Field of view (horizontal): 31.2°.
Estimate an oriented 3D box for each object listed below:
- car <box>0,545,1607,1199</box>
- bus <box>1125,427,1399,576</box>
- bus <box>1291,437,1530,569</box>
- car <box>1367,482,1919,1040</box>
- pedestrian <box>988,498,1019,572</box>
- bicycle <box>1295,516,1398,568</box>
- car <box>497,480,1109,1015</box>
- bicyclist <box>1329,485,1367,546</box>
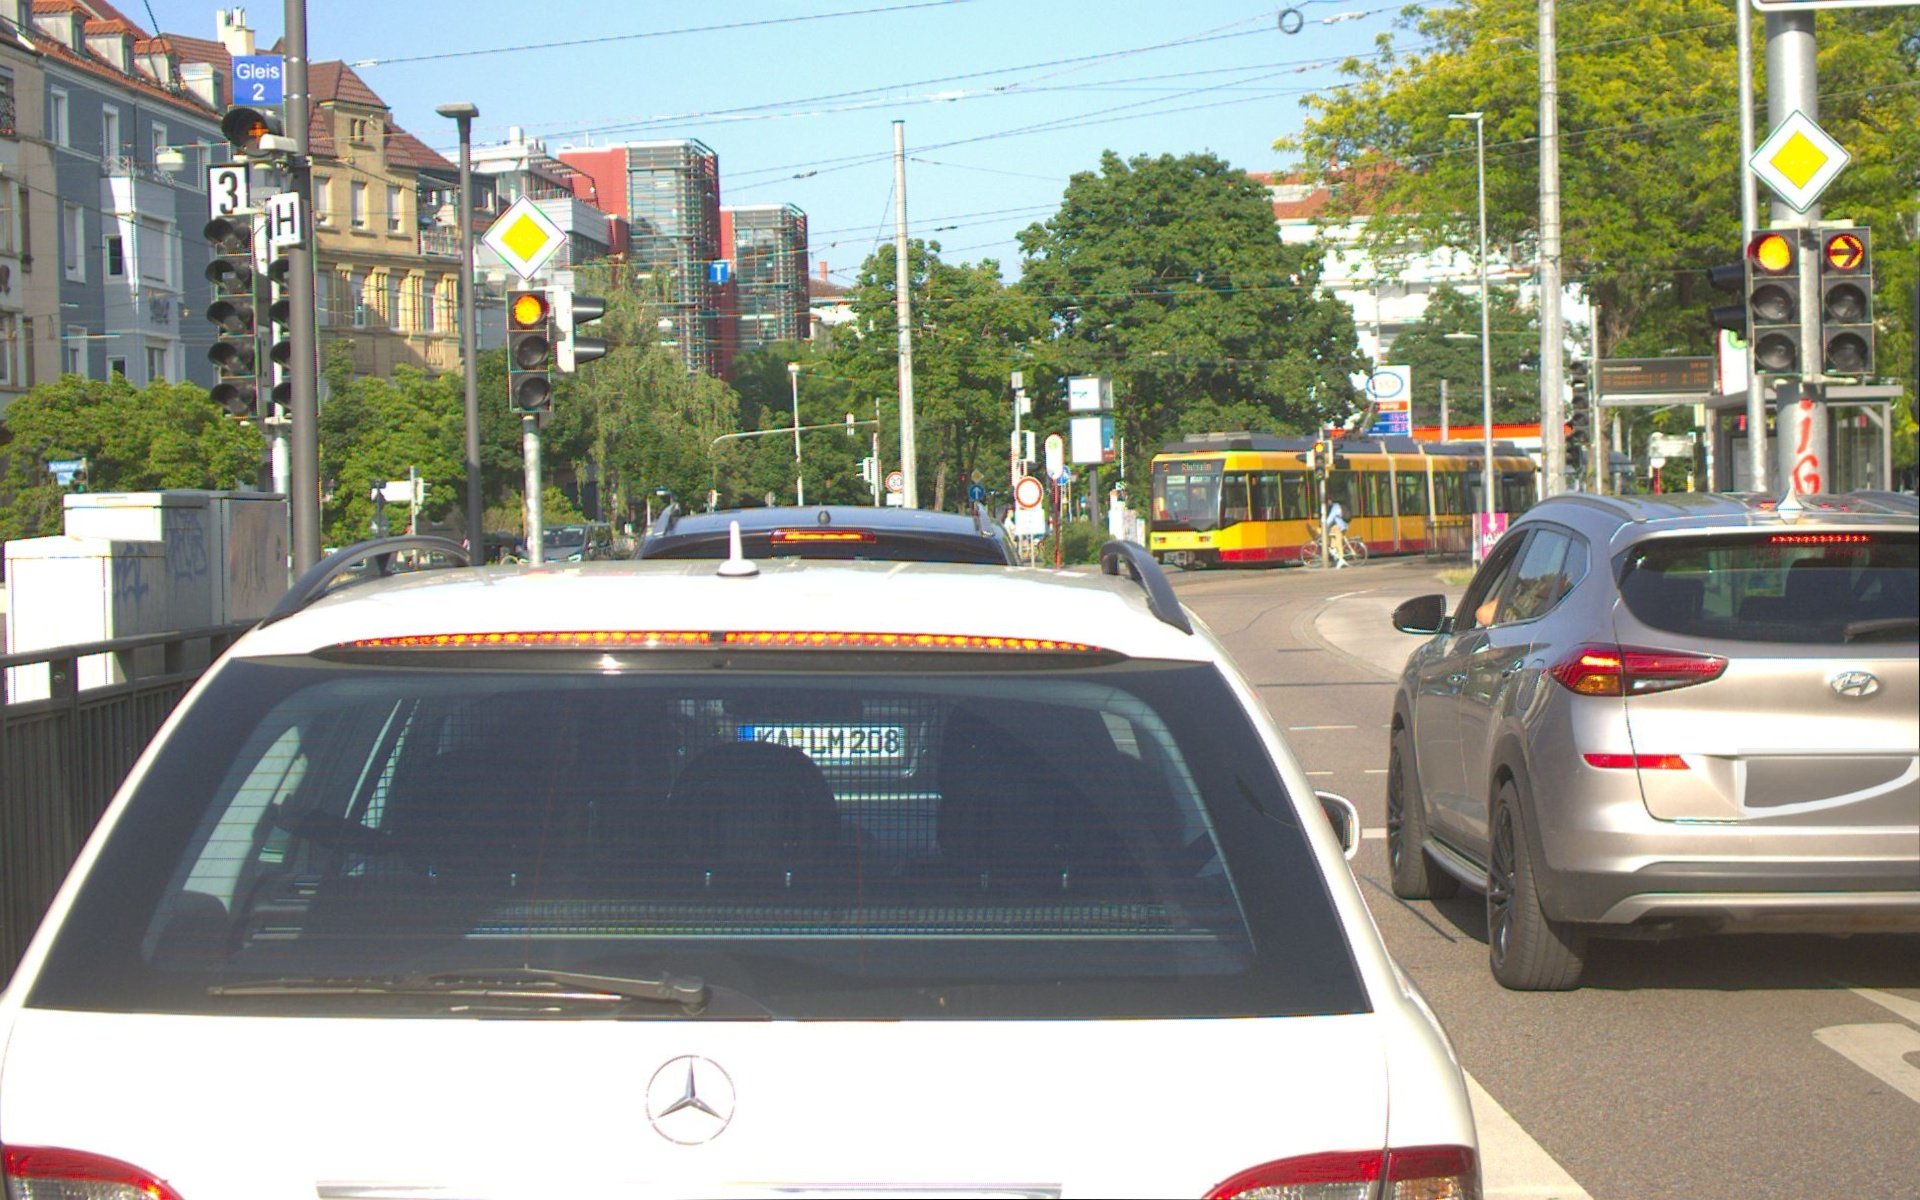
[{"bbox_3d":[-0.320,0.663,5.037,1.796,1.465,3.648,0,1,-1],"label":"car"},{"bbox_3d":[8.030,-2.442,89.187,3.113,3.593,12.359,1,1,24],"label":"bus"},{"bbox_3d":[13.354,-2.734,100.535,3.113,3.593,12.573,1,1,26],"label":"bus"},{"bbox_3d":[2.637,0.436,12.181,1.885,1.645,3.648,-2,1,0],"label":"car"},{"bbox_3d":[1.092,-1.645,86.896,0.642,1.850,0.551,-1,1,11],"label":"pedestrian"},{"bbox_3d":[9.564,-1.436,85.090,2.483,1.209,0.806,-1,1,8],"label":"bicycle"},{"bbox_3d":[-0.505,0.420,12.532,1.885,1.645,3.648,1,1,0],"label":"car"},{"bbox_3d":[9.608,-2.087,85.061,0.861,1.476,0.789,-1,1,9],"label":"bicyclist"}]
